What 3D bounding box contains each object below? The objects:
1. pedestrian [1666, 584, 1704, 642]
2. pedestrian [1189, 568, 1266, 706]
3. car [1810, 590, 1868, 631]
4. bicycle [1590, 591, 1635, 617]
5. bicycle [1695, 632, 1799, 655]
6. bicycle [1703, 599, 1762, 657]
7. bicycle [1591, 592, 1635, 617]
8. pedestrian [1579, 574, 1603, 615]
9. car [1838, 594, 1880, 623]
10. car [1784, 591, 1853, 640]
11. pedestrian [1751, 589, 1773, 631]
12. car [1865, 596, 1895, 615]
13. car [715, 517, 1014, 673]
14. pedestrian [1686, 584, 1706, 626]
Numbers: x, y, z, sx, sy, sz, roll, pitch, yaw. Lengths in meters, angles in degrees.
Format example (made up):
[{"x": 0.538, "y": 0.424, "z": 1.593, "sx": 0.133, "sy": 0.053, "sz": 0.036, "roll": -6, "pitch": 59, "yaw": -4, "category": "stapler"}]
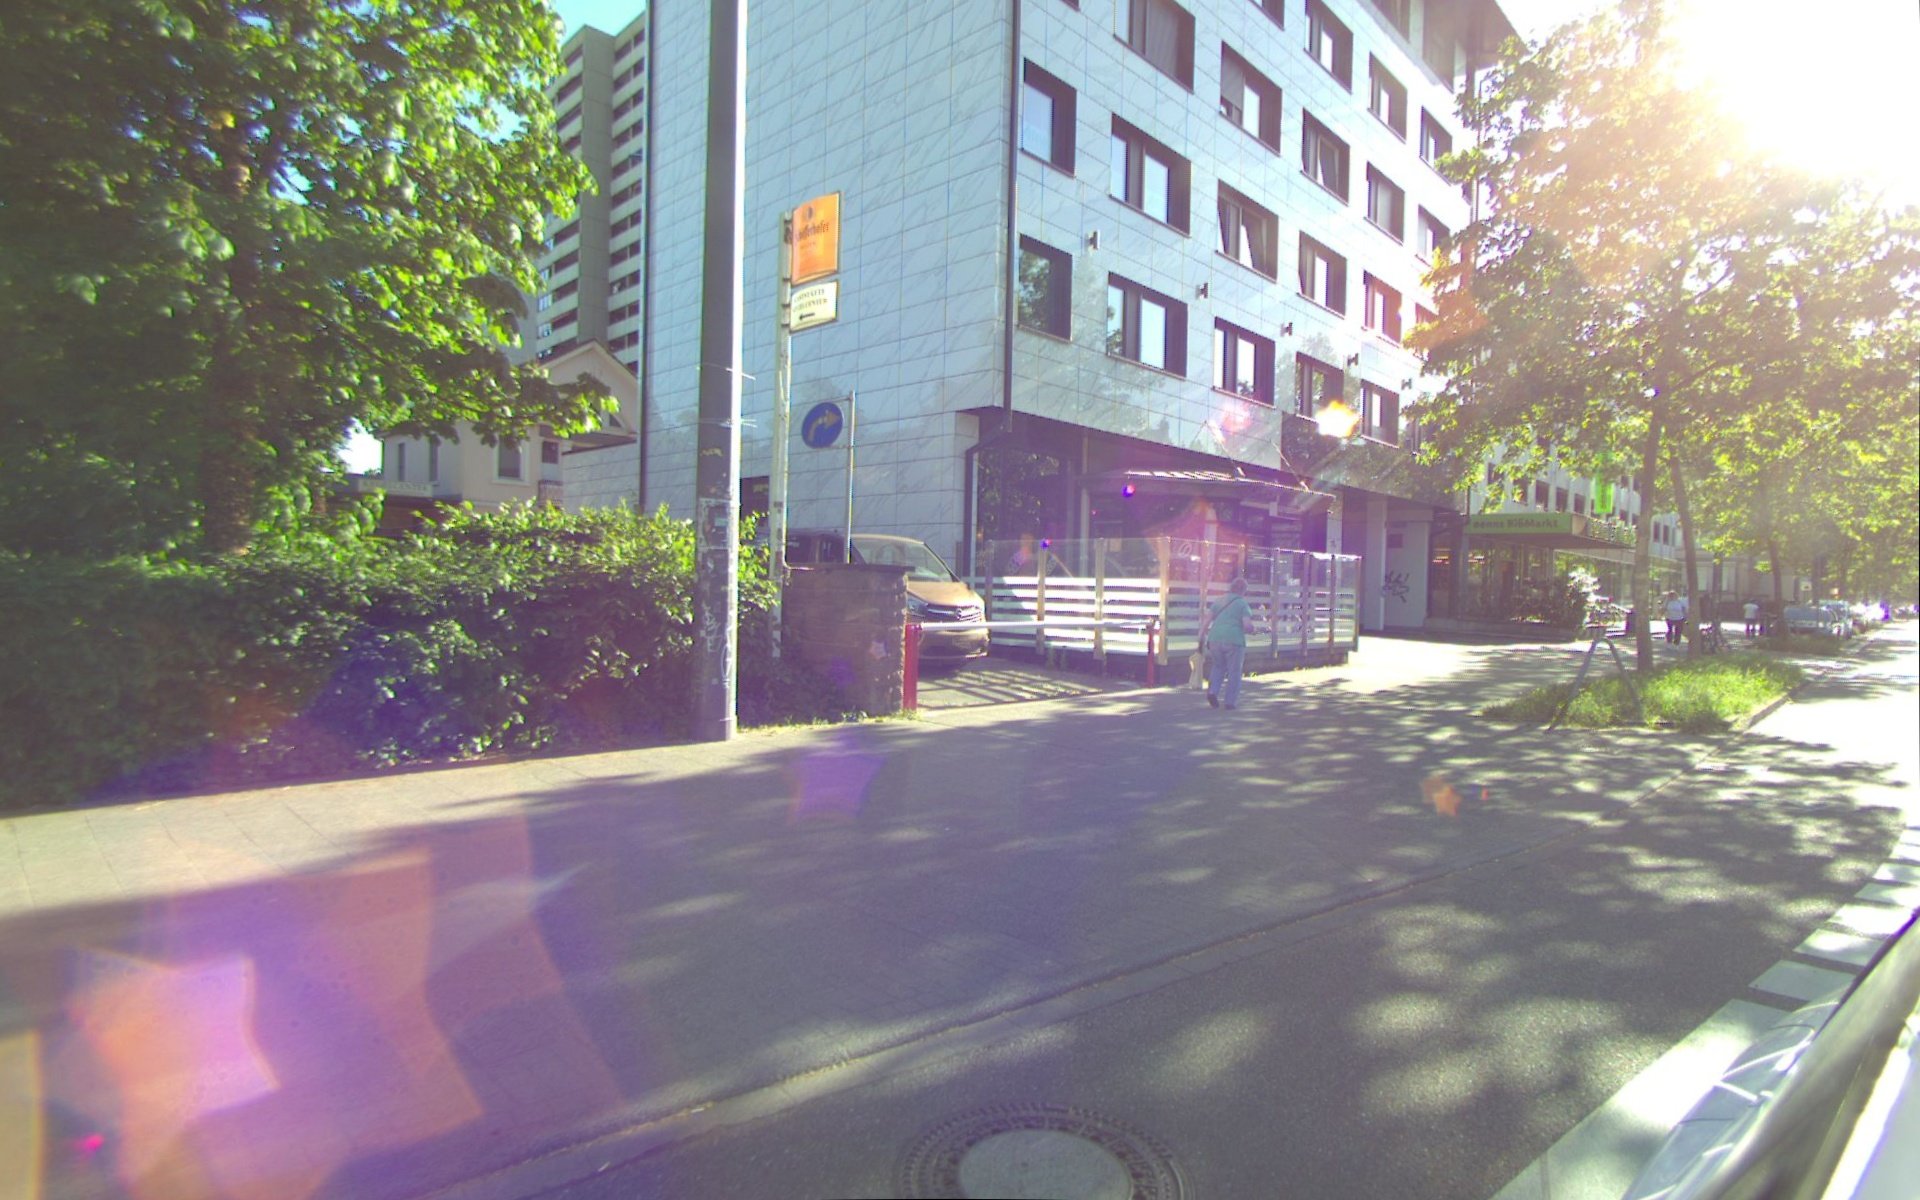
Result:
[{"x": 21.135, "y": 0.367, "z": 29.503, "sx": 0.853, "sy": 1.632, "sz": 0.698, "roll": 0, "pitch": 3, "yaw": -44, "category": "pedestrian"}, {"x": 3.209, "y": 0.417, "z": 12.208, "sx": 0.726, "sy": 1.595, "sz": 0.831, "roll": 1, "pitch": 1, "yaw": 6, "category": "pedestrian"}, {"x": 41.142, "y": 0.467, "z": 47.332, "sx": 1.765, "sy": 1.814, "sz": 4.322, "roll": 3, "pitch": 2, "yaw": 44, "category": "car"}, {"x": 30.164, "y": 0.190, "z": 46.815, "sx": 0.573, "sy": 1.068, "sz": 1.709, "roll": 3, "pitch": 2, "yaw": -19, "category": "bicycle"}, {"x": 16.696, "y": 0.915, "z": 21.479, "sx": 1.609, "sy": 0.357, "sz": 1.367, "roll": 2, "pitch": 2, "yaw": 44, "category": "bicycle"}, {"x": 16.505, "y": 0.575, "z": 21.659, "sx": 0.784, "sy": 1.147, "sz": 1.826, "roll": 1, "pitch": 1, "yaw": 31, "category": "bicycle"}, {"x": 30.751, "y": 0.194, "z": 47.708, "sx": 0.573, "sy": 1.068, "sz": 1.709, "roll": 2, "pitch": 3, "yaw": -19, "category": "bicycle"}, {"x": 28.284, "y": -0.246, "z": 45.368, "sx": 0.606, "sy": 1.735, "sz": 0.609, "roll": 7, "pitch": 4, "yaw": 20, "category": "pedestrian"}, {"x": 51.663, "y": 0.471, "z": 58.137, "sx": 1.673, "sy": 1.455, "sz": 3.633, "roll": 4, "pitch": 4, "yaw": 43, "category": "car"}, {"x": 29.826, "y": 0.489, "z": 35.131, "sx": 1.565, "sy": 1.570, "sz": 3.936, "roll": 1, "pitch": 1, "yaw": 44, "category": "car"}, {"x": 32.925, "y": 0.402, "z": 41.552, "sx": 0.560, "sy": 1.725, "sz": 1.035, "roll": 2, "pitch": 1, "yaw": 44, "category": "pedestrian"}, {"x": 79.622, "y": 0.427, "z": 87.583, "sx": 1.834, "sy": 1.584, "sz": 4.206, "roll": 0, "pitch": 0, "yaw": 44, "category": "car"}, {"x": -1.641, "y": -0.209, "z": 15.701, "sx": 1.882, "sy": 2.008, "sz": 4.901, "roll": 0, "pitch": 4, "yaw": -45, "category": "car"}, {"x": 31.474, "y": 0.205, "z": 43.279, "sx": 0.560, "sy": 1.766, "sz": 0.865, "roll": 2, "pitch": 1, "yaw": 44, "category": "pedestrian"}]
